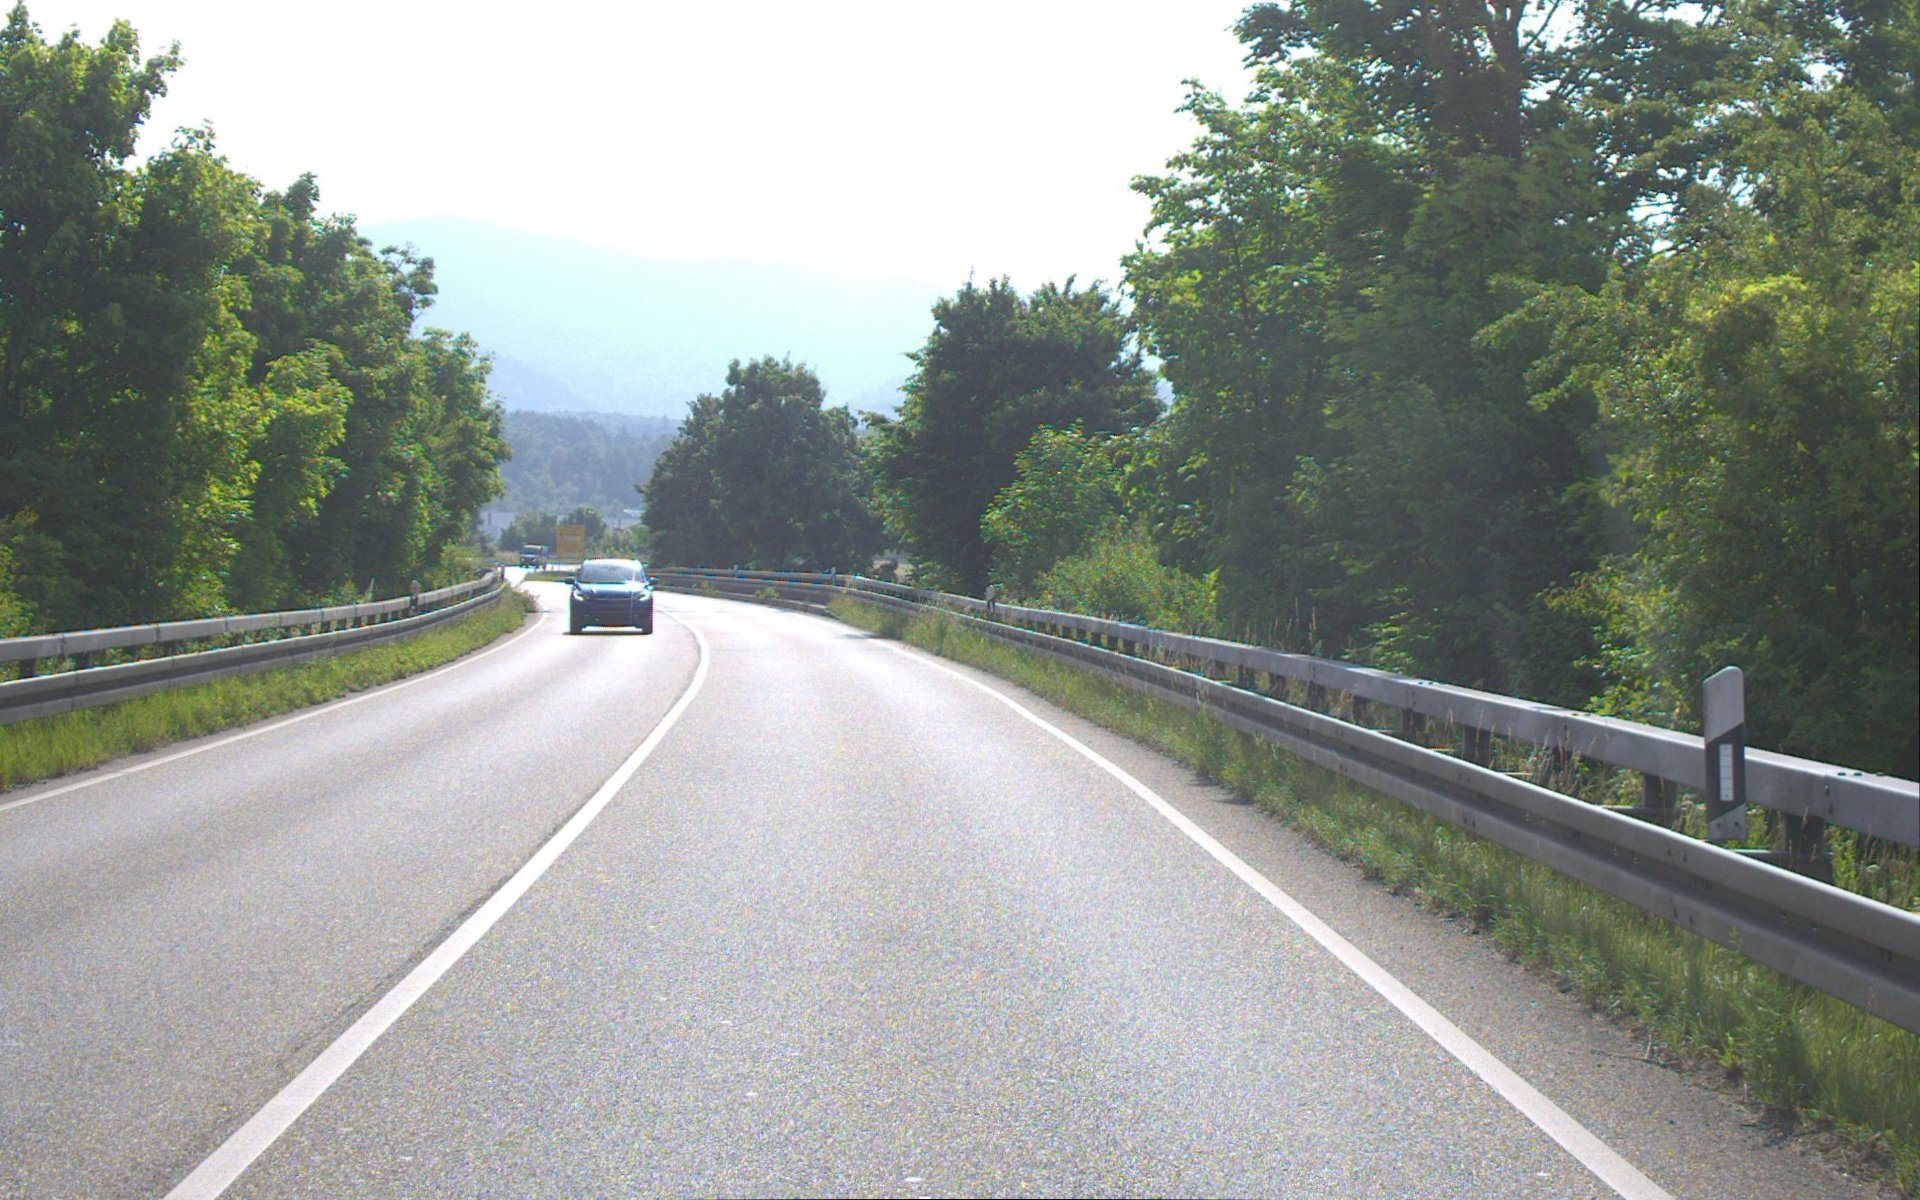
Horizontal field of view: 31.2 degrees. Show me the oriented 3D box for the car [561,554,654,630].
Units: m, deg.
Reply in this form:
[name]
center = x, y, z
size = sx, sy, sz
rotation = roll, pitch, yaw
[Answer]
[car]
center = -7.606, -0.197, 74.462
size = 1.807, 1.555, 3.993
rotation = -1, 1, -4
